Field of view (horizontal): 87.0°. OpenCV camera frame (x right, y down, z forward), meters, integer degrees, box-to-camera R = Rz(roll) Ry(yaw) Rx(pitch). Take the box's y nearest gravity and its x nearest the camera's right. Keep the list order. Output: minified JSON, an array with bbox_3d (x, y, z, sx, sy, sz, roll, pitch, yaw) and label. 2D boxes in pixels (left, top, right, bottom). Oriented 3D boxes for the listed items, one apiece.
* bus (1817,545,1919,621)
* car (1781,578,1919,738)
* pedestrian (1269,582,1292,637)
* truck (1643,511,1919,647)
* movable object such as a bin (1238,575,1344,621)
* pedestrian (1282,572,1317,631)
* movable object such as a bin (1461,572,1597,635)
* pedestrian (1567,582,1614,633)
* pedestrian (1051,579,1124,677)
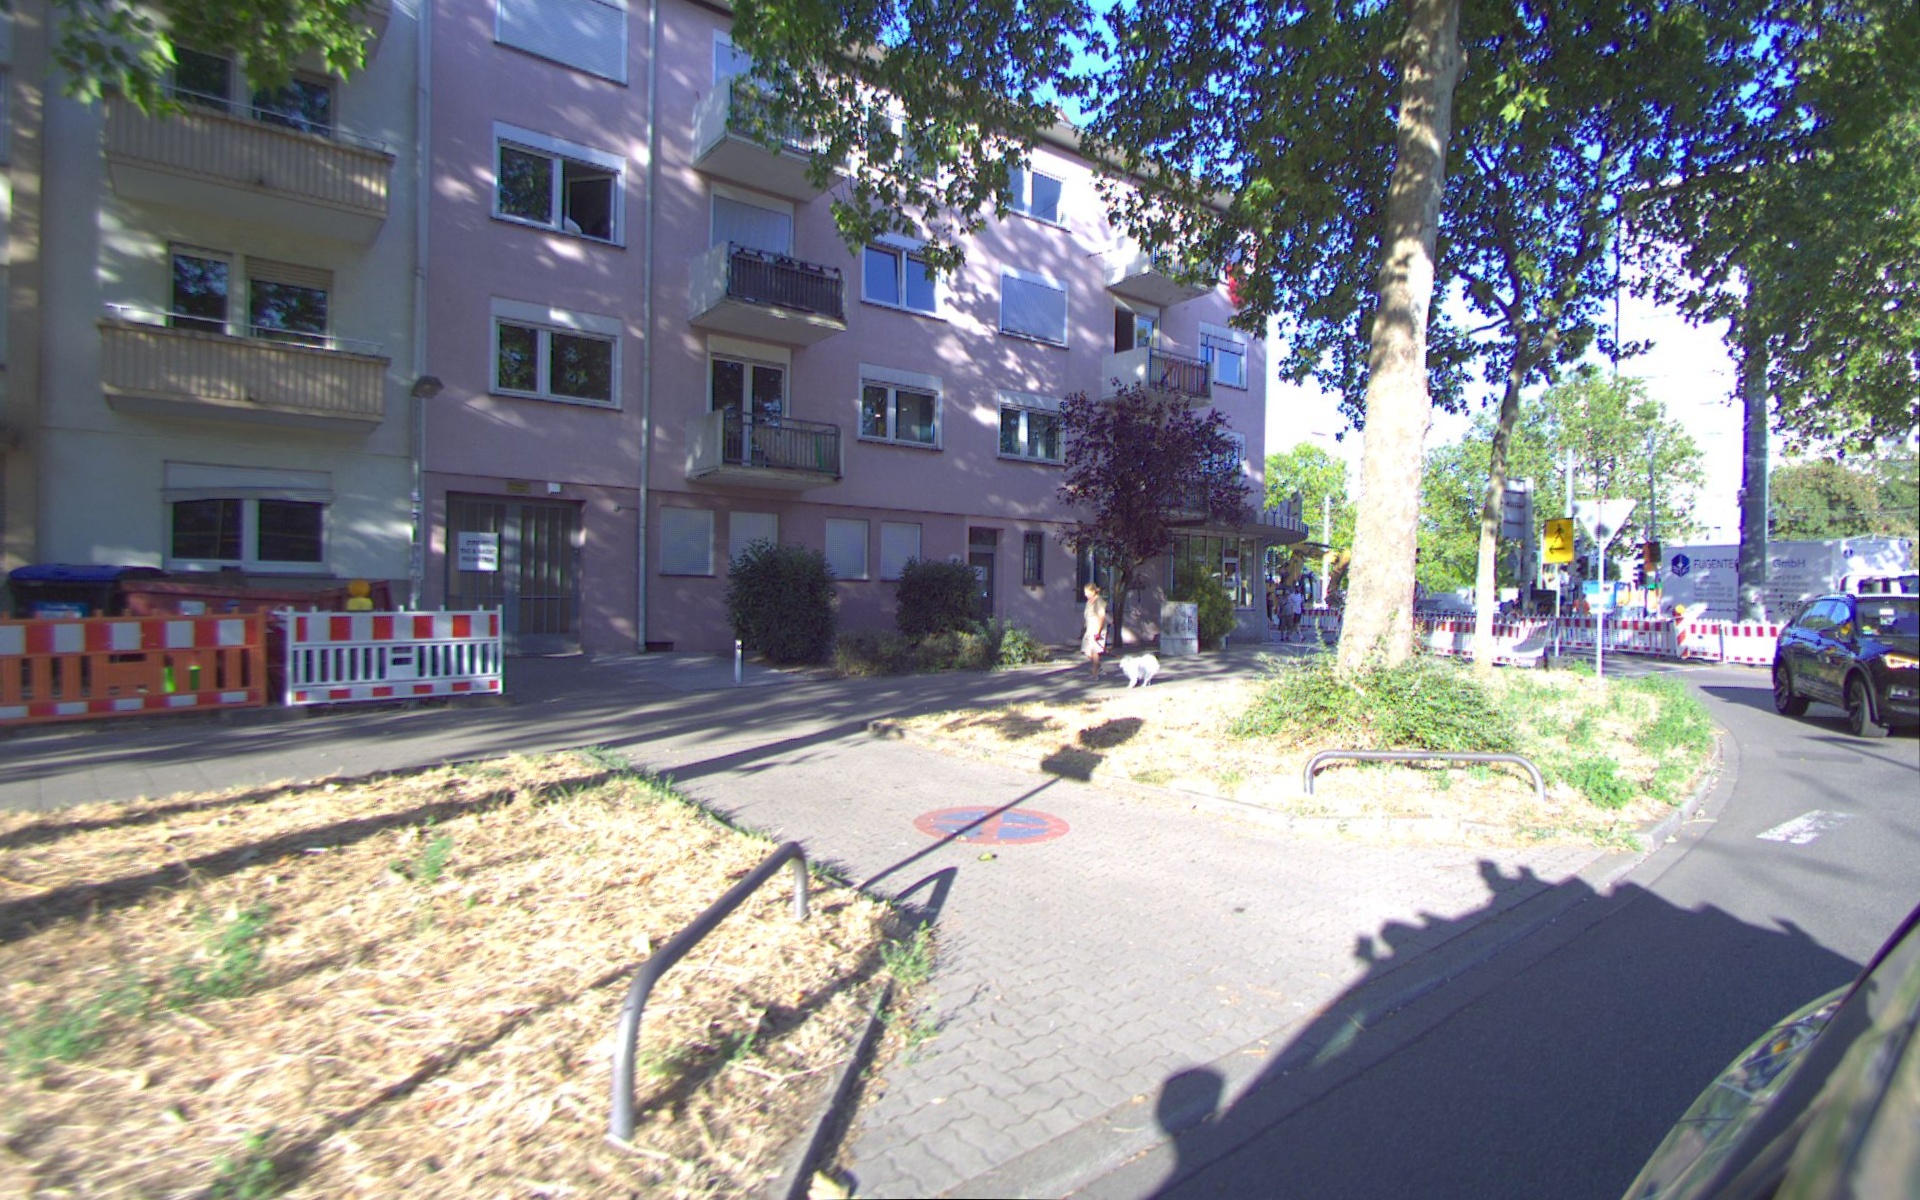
[{"bbox_3d":[50.017,-0.804,49.271,3.030,3.769,12.298,1,1,-37],"label":"bus"},{"bbox_3d":[11.633,0.611,12.082,1.981,1.668,4.164,0,0,27],"label":"car"},{"bbox_3d":[10.413,0.320,32.865,0.579,1.730,0.673,2,-2,26],"label":"pedestrian"},{"bbox_3d":[26.015,-0.591,31.354,2.764,3.586,8.996,1,0,-7],"label":"truck"},{"bbox_3d":[17.878,-0.145,54.857,2.603,2.347,4.898,0,1,-39],"label":"movable object such as a bin"},{"bbox_3d":[11.289,0.037,33.617,0.834,1.893,1.086,1,1,33],"label":"pedestrian"},{"bbox_3d":[22.323,0.105,40.015,1.960,2.285,5.214,-1,1,-6],"label":"movable object such as a bin"},{"bbox_3d":[22.945,0.256,36.826,0.955,1.821,1.072,0,0,-16],"label":"pedestrian"},{"bbox_3d":[2.008,0.422,15.921,0.802,1.493,0.791,1,0,-42],"label":"pedestrian"}]
